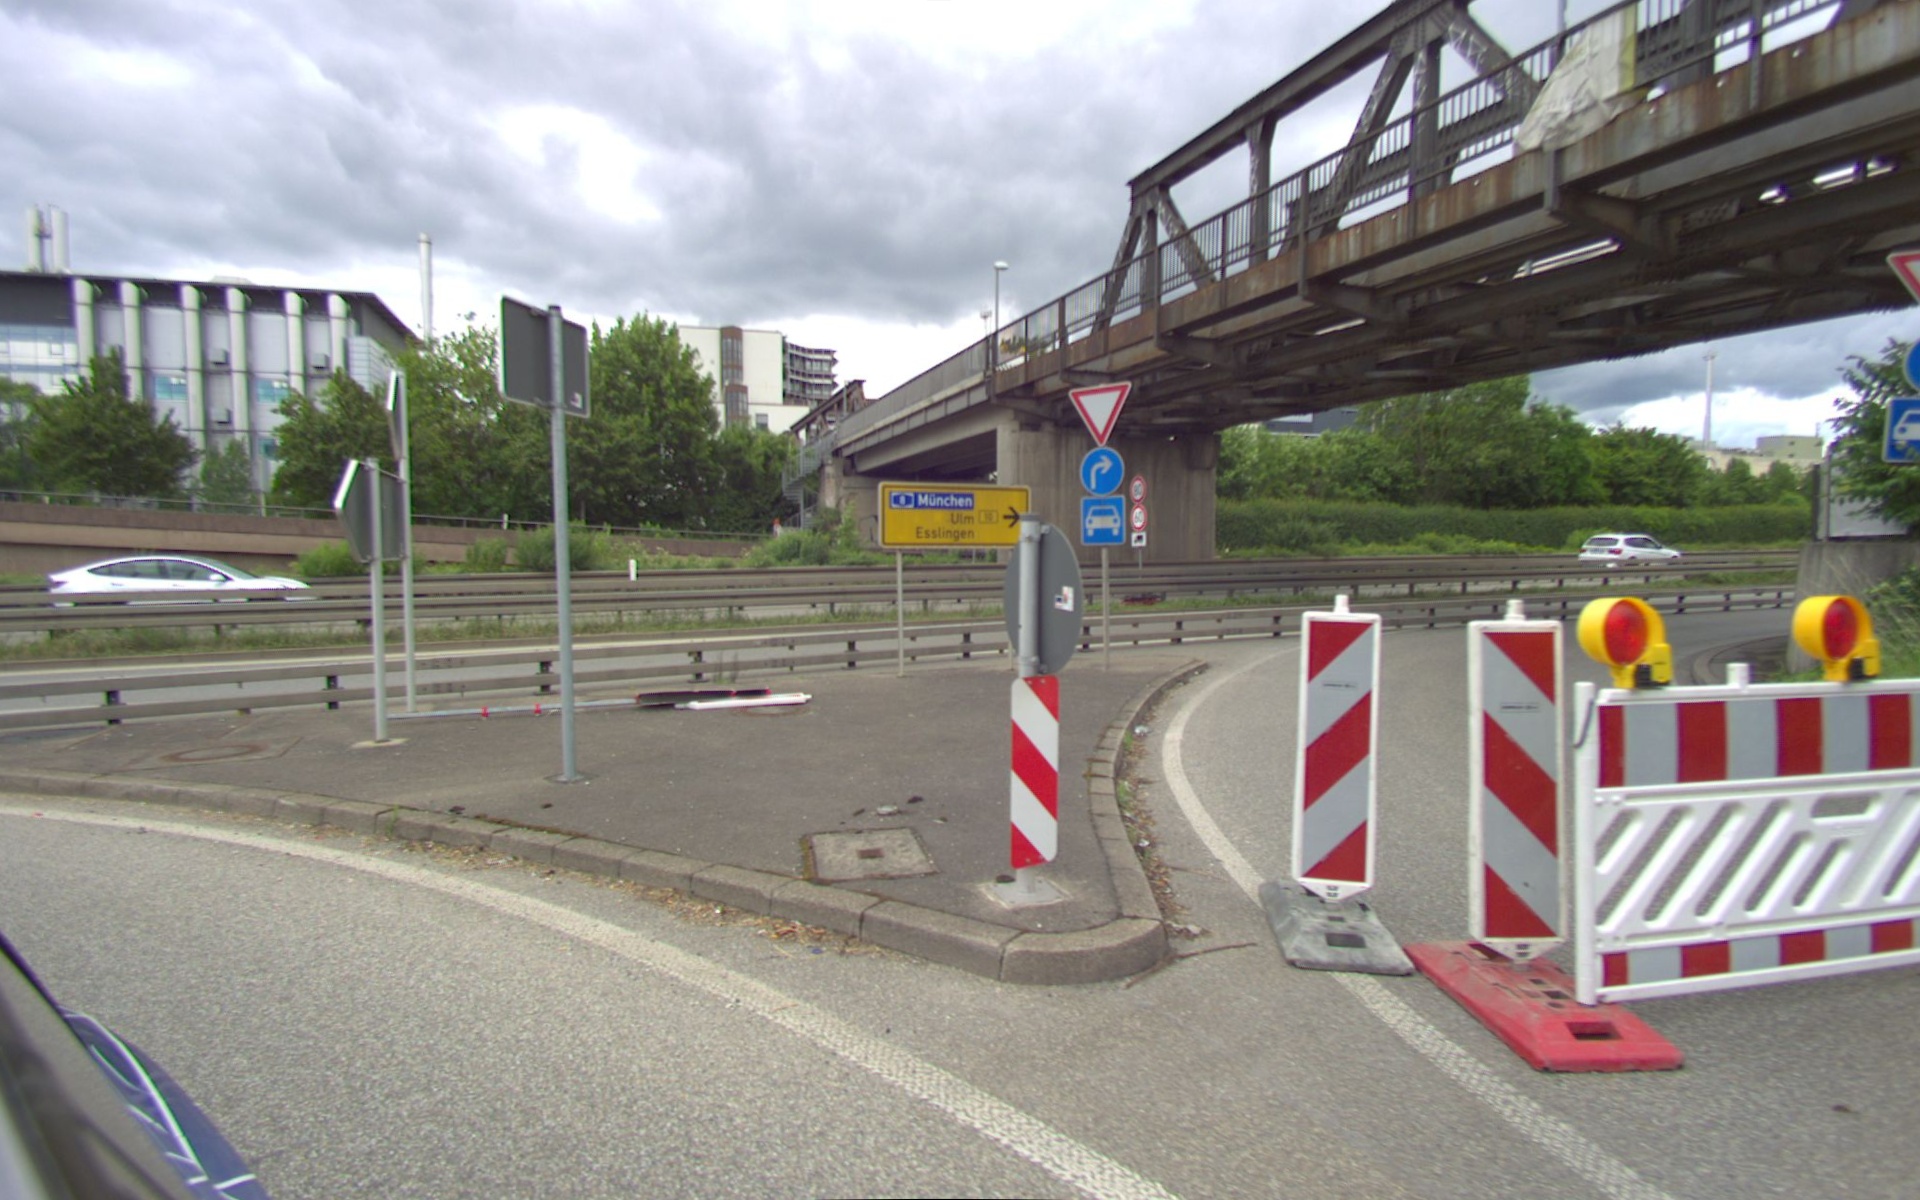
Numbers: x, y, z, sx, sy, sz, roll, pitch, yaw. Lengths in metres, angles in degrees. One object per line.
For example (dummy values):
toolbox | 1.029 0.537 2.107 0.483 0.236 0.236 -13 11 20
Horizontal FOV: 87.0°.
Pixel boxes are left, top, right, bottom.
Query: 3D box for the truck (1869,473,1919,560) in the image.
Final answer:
truck | 44.815 -3.722 45.074 9.979 3.656 2.973 -3 4 -27

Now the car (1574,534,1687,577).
car | 27.307 -1.853 41.218 4.217 1.652 1.867 -2 5 -26

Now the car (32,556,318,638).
car | -16.214 -0.138 21.248 4.382 1.553 2.007 -1 3 -26
